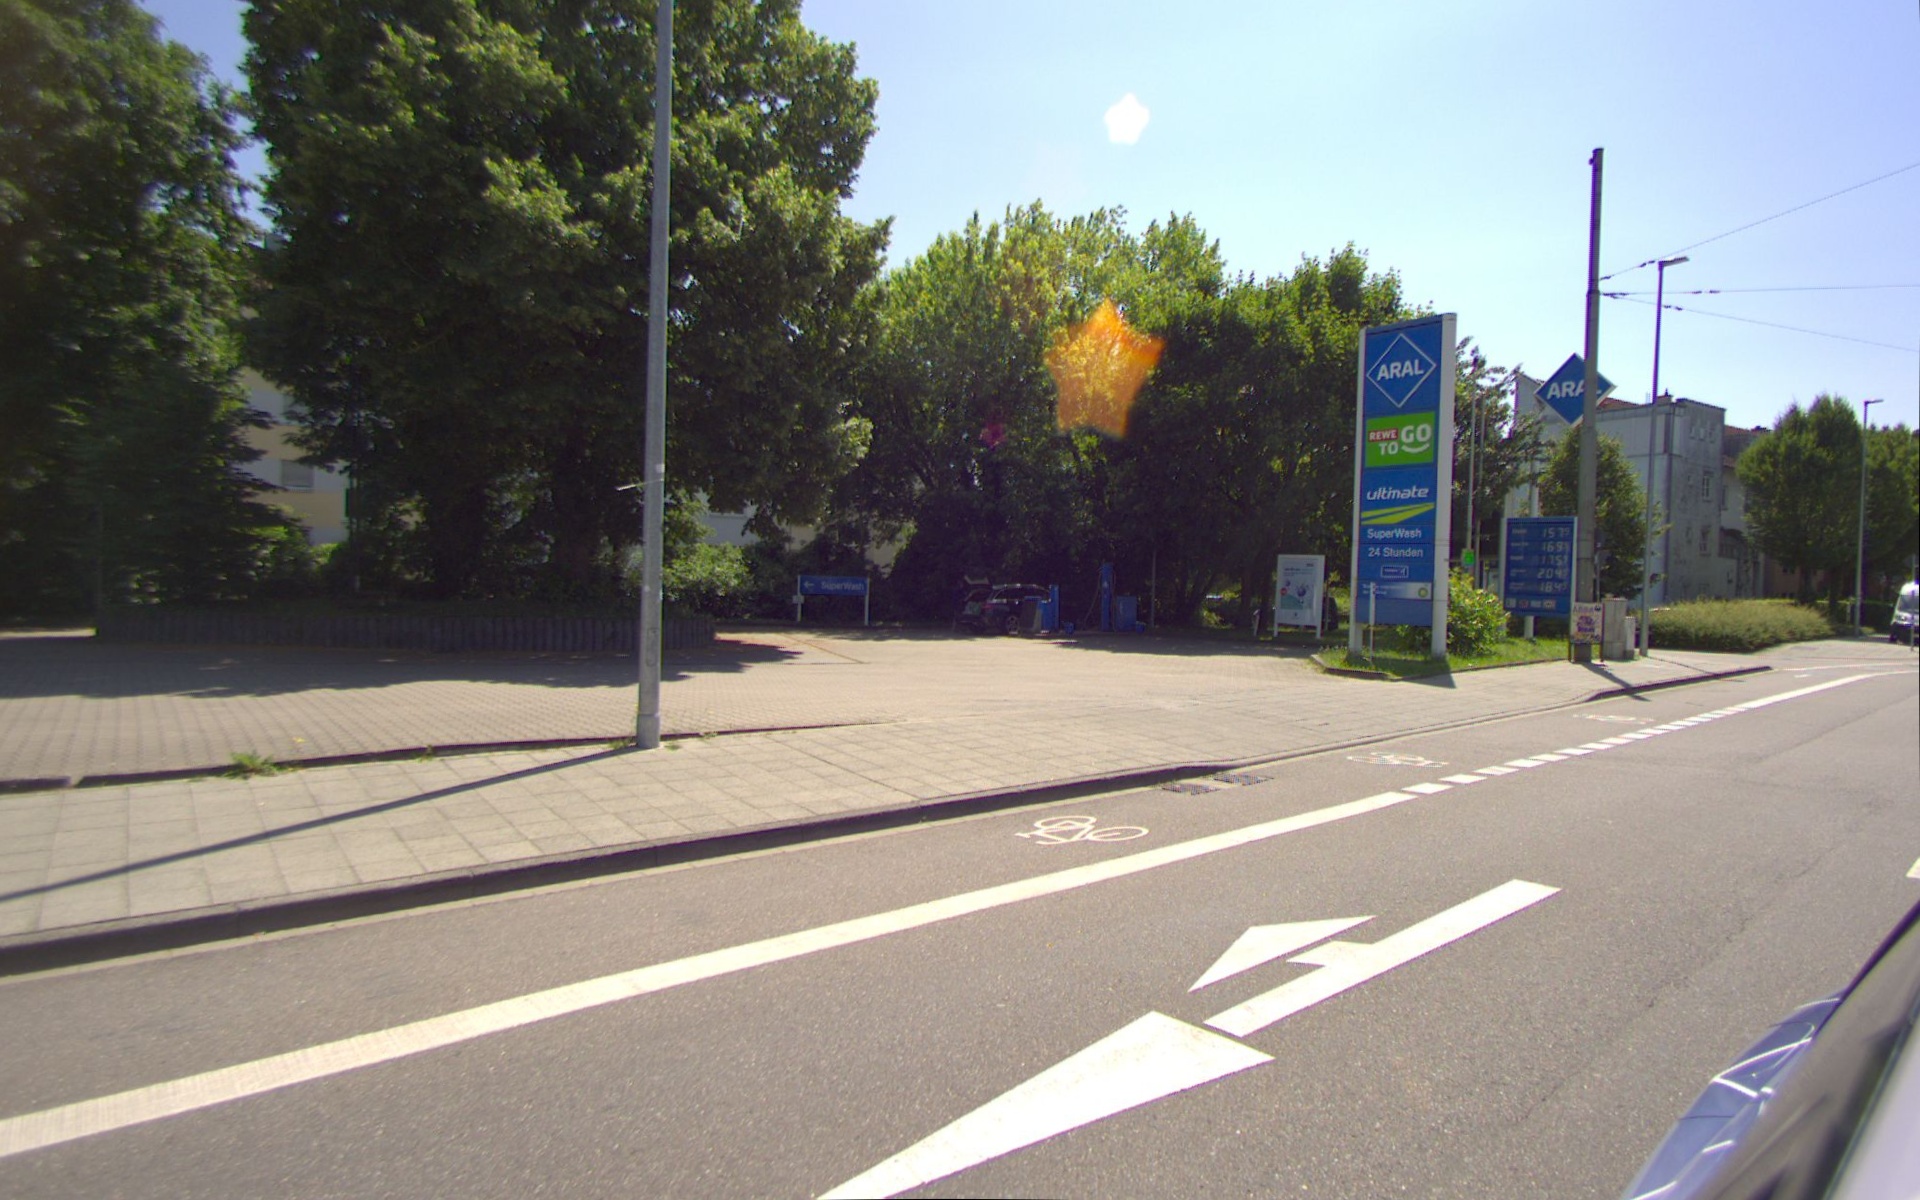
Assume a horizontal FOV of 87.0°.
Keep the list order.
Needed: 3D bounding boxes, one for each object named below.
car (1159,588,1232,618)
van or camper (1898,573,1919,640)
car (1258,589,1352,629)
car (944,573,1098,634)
[{"bbox_3d":[12.718,0.135,54.917,1.806,1.507,4.008,1,1,-23],"label":"car"},{"bbox_3d":[39.479,0.316,40.525,5.890,2.513,2.125,0,4,-42],"label":"van or camper"},{"bbox_3d":[16.244,0.398,47.831,1.959,1.708,4.007,1,1,-25],"label":"car"},{"bbox_3d":[1.855,0.044,30.358,4.328,1.683,2.000,-1,2,-36],"label":"car"}]
